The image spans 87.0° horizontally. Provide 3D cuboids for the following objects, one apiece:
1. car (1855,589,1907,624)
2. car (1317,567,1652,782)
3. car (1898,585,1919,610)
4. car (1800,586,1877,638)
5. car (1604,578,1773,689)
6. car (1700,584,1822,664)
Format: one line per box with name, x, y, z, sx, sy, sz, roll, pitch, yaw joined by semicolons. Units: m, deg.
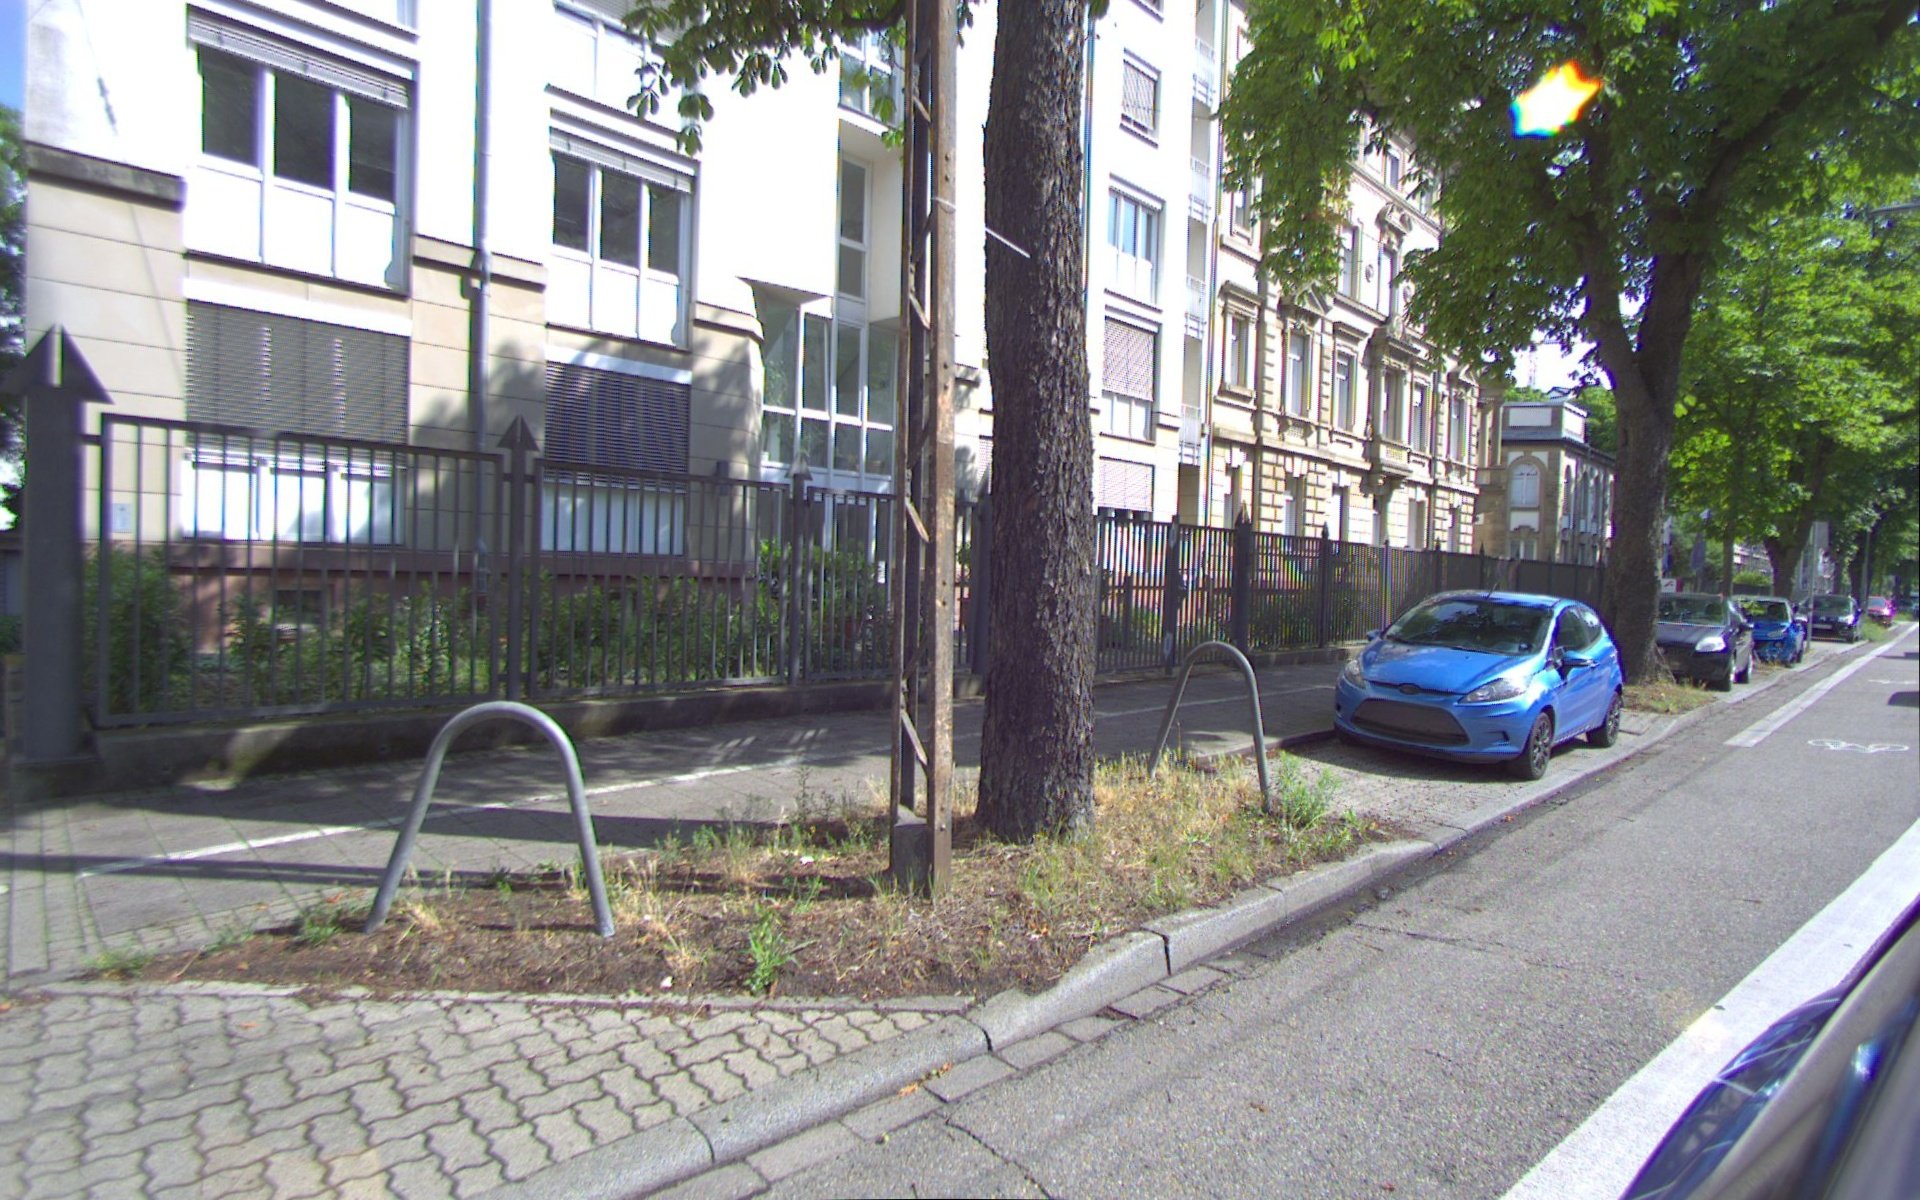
car;46.601;0.292;51.188;1.741;1.592;3.868;7;5;44
car;4.981;0.534;9.405;3.601;1.493;1.644;0;5;-45
car;64.363;-0.144;68.010;1.741;1.592;3.868;7;5;44
car;30.718;0.384;35.356;1.741;1.592;3.603;7;5;44
car;12.068;0.472;16.678;1.676;1.493;3.603;7;5;44
car;17.745;0.467;22.374;1.676;1.493;3.603;7;5;44
